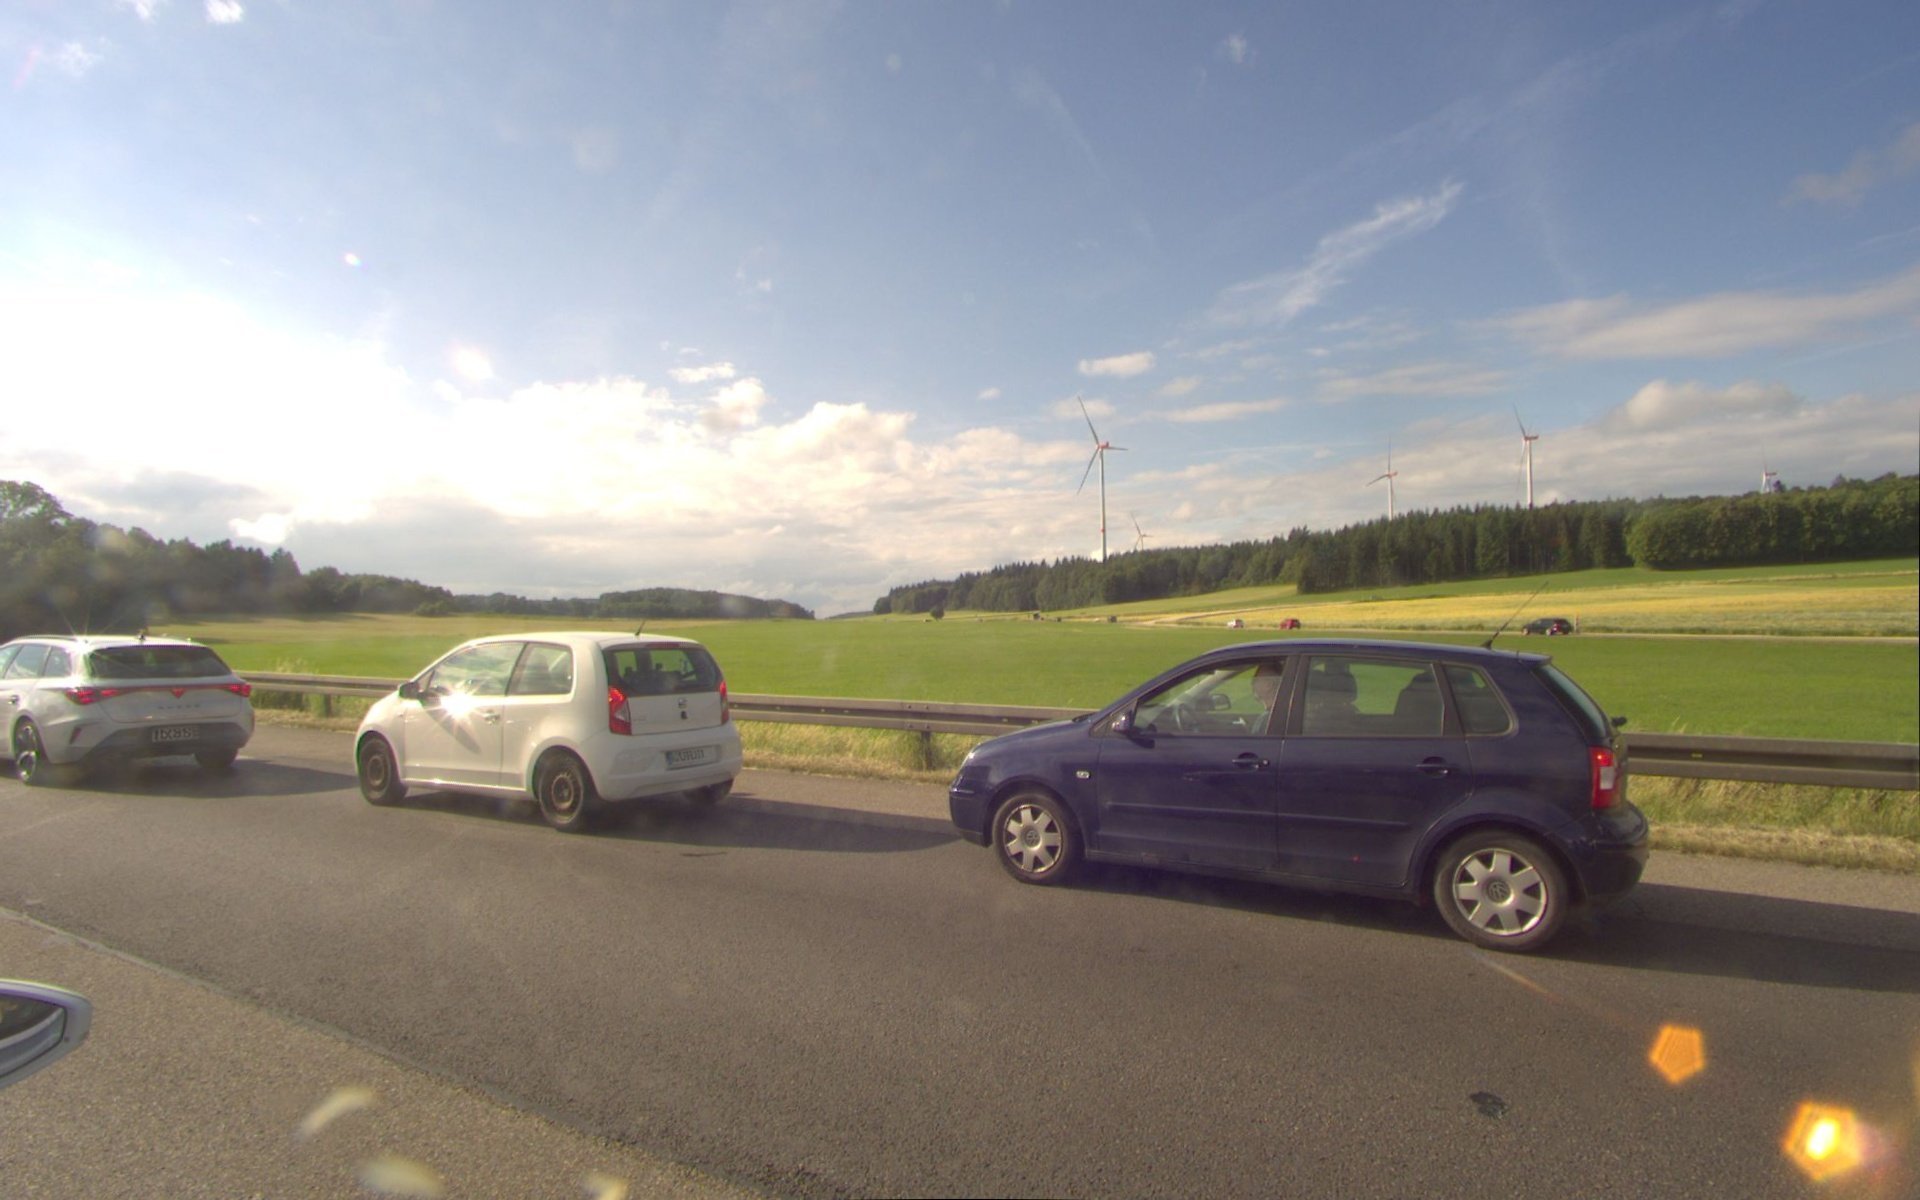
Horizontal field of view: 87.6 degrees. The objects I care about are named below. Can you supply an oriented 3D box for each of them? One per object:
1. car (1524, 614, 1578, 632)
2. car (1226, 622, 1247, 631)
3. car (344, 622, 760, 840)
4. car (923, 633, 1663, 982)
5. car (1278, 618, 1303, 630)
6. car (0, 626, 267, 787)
[{"bbox_3d":[50.970,2.014,86.449,1.803,1.505,4.221,0,-2,-6],"label":"car"},{"bbox_3d":[44.673,4.297,161.821,1.803,1.505,4.288,0,-2,-6],"label":"car"},{"bbox_3d":[-3.507,0.960,8.538,3.326,1.514,1.547,0,-1,29],"label":"car"},{"bbox_3d":[1.794,0.939,5.924,3.719,1.464,1.708,-1,-2,31],"label":"car"},{"bbox_3d":[45.981,3.340,139.407,1.803,1.505,4.221,0,-2,-6],"label":"car"},{"bbox_3d":[-9.484,1.039,10.870,4.084,1.464,1.619,-1,-2,29],"label":"car"}]
